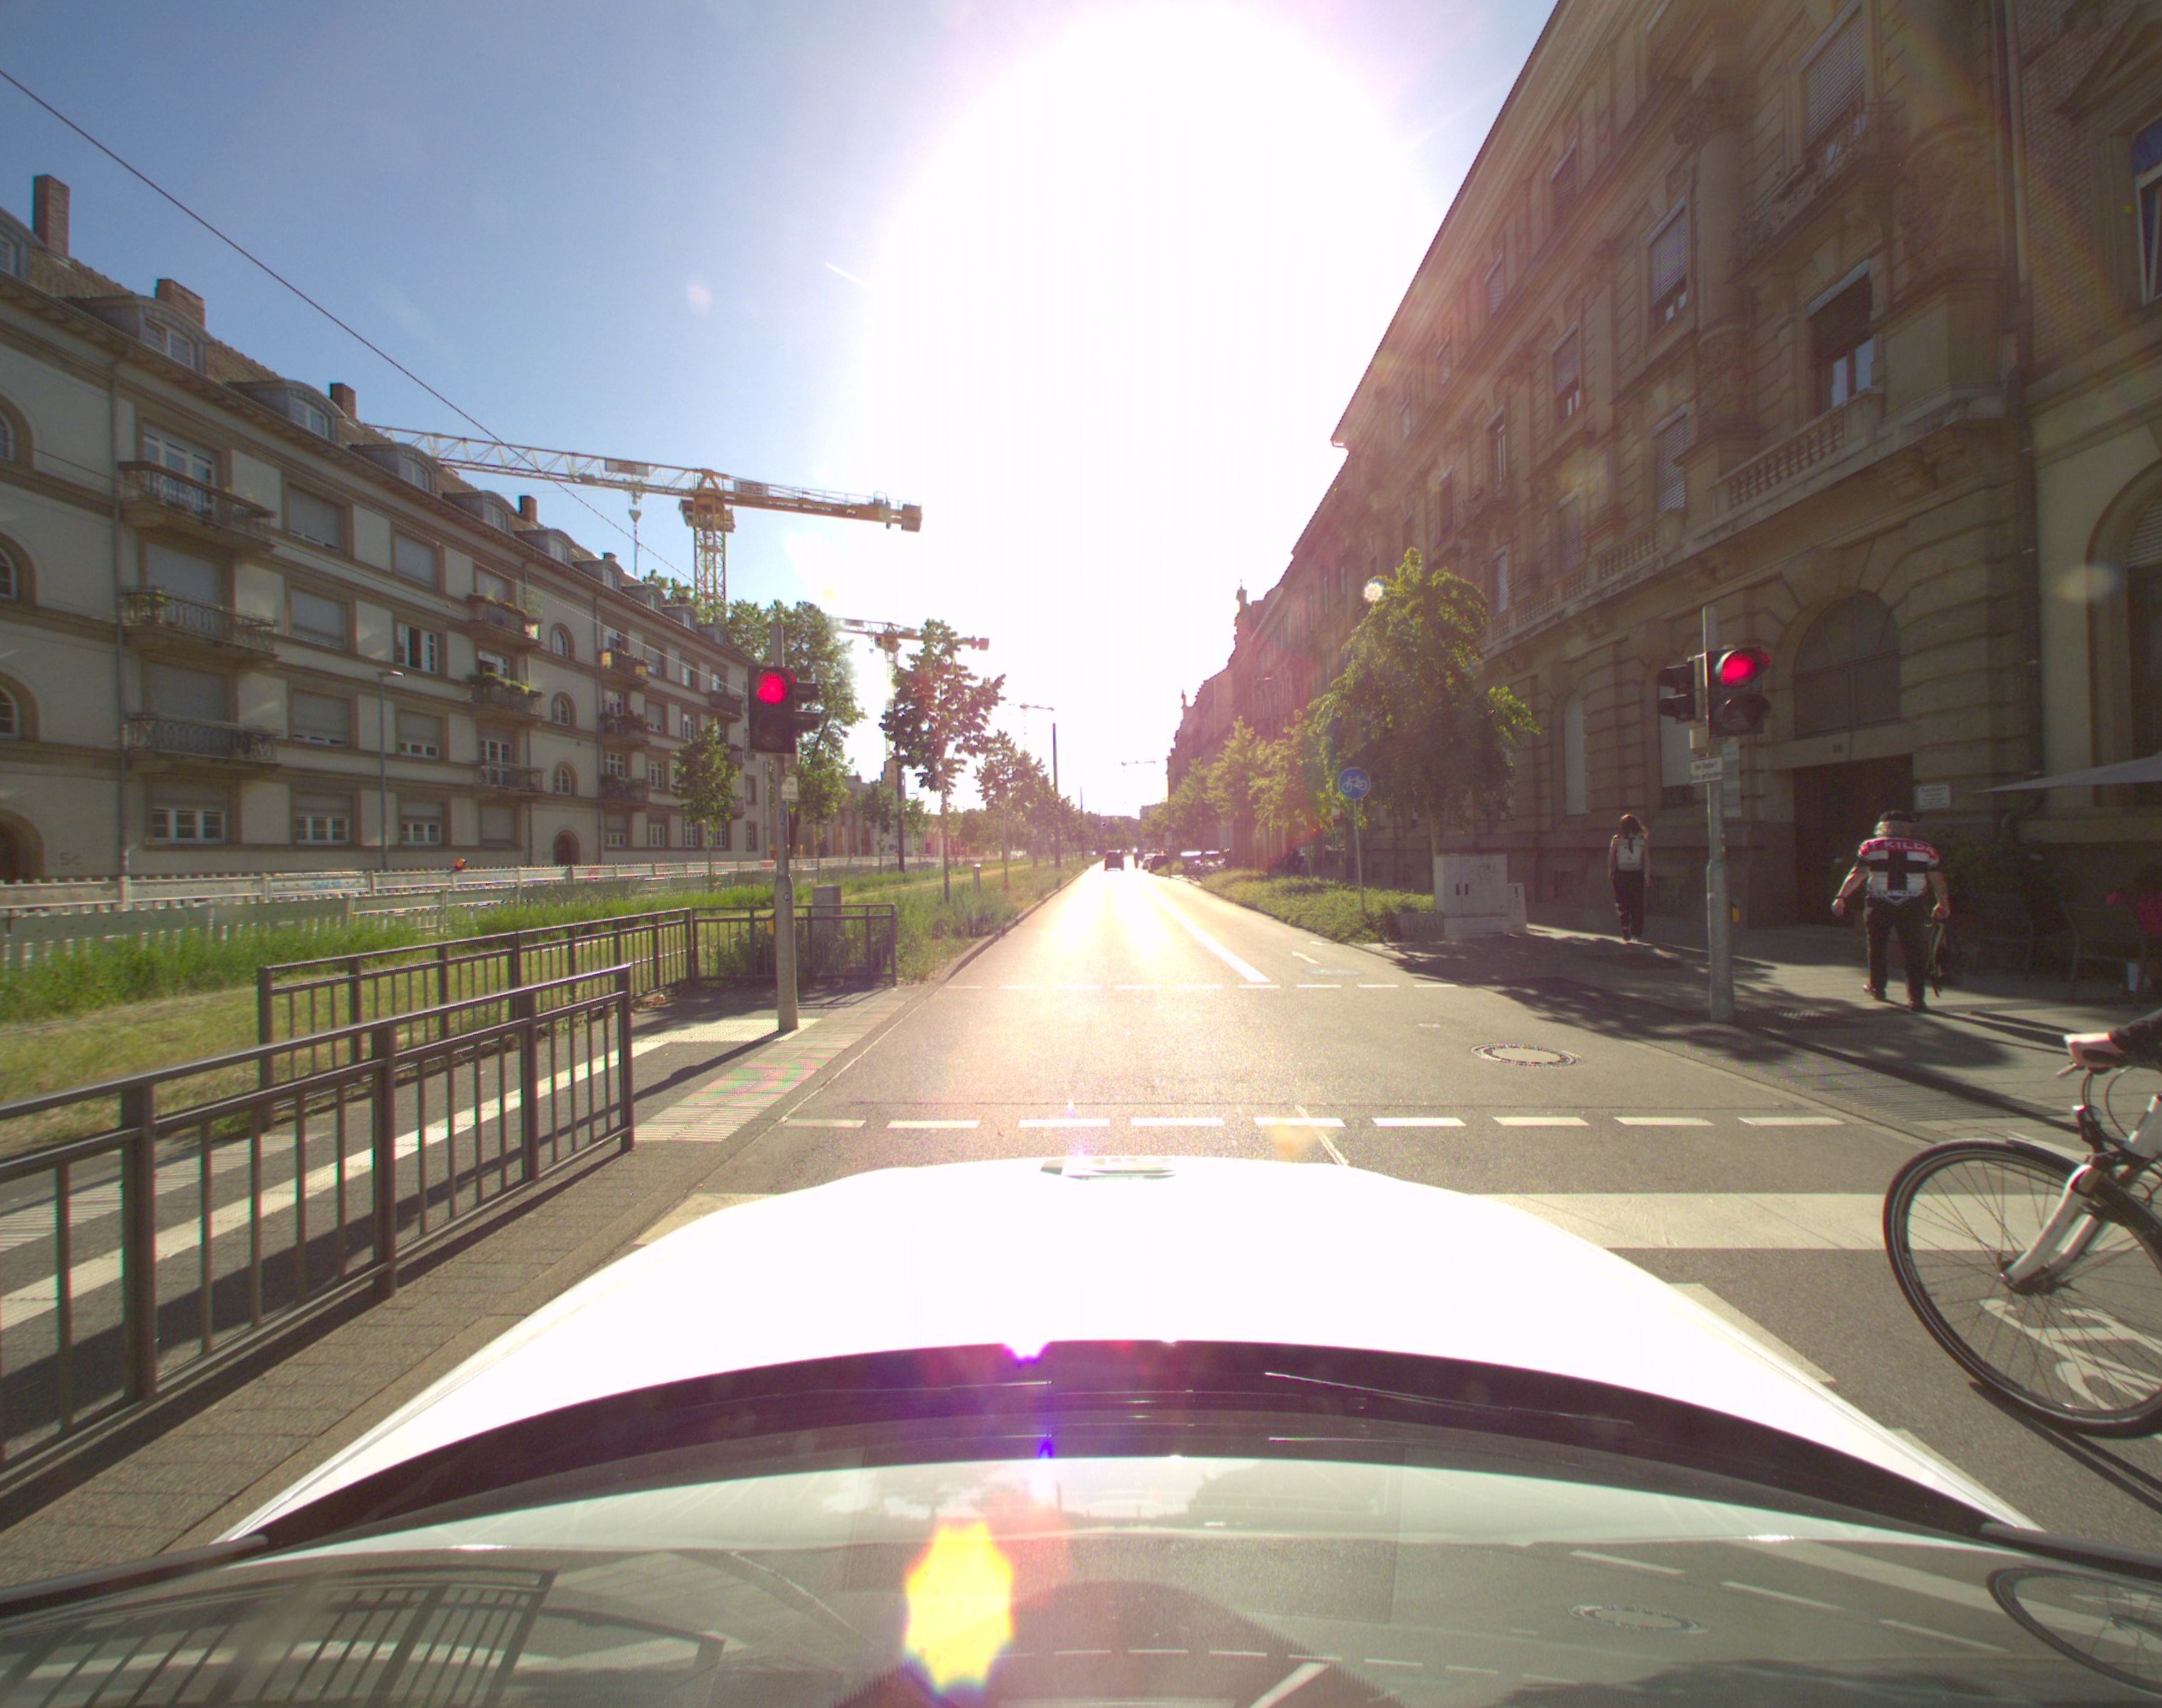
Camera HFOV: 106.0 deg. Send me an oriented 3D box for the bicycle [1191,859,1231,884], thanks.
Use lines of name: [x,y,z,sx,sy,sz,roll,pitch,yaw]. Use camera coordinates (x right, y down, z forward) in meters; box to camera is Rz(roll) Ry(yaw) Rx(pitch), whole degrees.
bicycle: [6.309,0.830,39.560,1.786,1.030,0.528,-6,0,1]

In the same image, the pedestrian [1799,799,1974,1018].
pedestrian: [7.212,0.441,7.307,0.871,1.788,0.960,0,0,-35]

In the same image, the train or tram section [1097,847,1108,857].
train or tram section: [5.752,-0.475,219.373,2.745,2.743,9.870,0,-1,3]

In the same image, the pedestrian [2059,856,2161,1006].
pedestrian: [9.106,0.631,6.947,0.703,1.178,0.635,-3,0,1]

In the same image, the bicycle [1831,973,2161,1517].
bicycle: [2.691,0.936,1.744,0.555,1.092,1.793,0,0,1]

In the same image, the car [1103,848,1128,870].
car: [3.213,0.453,76.501,2.192,1.926,4.655,-2,0,2]

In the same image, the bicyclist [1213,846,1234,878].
bicyclist: [7.182,0.387,41.075,0.795,1.530,0.663,-6,0,2]

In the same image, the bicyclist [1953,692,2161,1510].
bicyclist: [2.651,0.517,1.685,0.776,1.711,0.869,0,0,1]

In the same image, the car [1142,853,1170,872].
car: [6.178,0.675,67.358,2.020,1.499,4.655,-2,0,2]

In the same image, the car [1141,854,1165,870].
car: [6.989,0.752,79.781,2.020,1.499,4.532,-2,0,2]

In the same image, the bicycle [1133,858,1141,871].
bicycle: [5.128,0.978,74.594,0.599,1.181,1.870,0,0,1]

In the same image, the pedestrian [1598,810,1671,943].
pedestrian: [8.296,0.319,12.249,0.645,1.908,1.085,-2,0,23]

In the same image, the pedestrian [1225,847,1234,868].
pedestrian: [11.578,0.257,63.528,0.611,1.611,0.669,-2,0,1]

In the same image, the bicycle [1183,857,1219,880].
bicycle: [6.447,0.786,43.913,1.786,1.030,0.528,-6,0,1]

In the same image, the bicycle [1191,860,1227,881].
bicycle: [6.692,0.842,42.562,1.786,1.030,0.528,-2,0,1]

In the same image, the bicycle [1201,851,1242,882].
bicycle: [7.068,0.623,41.093,1.886,1.330,0.618,-6,0,2]

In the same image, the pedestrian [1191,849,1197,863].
pedestrian: [12.765,0.243,91.936,0.611,1.611,0.669,-2,0,1]

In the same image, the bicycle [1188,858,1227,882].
bicycle: [6.343,0.787,40.934,1.786,1.030,0.528,-6,0,1]

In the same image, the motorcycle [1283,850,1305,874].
motorcycle: [11.499,0.405,44.033,0.697,1.267,1.983,-2,0,2]

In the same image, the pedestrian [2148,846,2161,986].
pedestrian: [9.891,0.538,6.939,0.703,1.236,0.635,-3,0,1]

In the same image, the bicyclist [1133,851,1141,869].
bicyclist: [5.144,0.571,74.803,0.681,1.673,0.922,0,0,1]
